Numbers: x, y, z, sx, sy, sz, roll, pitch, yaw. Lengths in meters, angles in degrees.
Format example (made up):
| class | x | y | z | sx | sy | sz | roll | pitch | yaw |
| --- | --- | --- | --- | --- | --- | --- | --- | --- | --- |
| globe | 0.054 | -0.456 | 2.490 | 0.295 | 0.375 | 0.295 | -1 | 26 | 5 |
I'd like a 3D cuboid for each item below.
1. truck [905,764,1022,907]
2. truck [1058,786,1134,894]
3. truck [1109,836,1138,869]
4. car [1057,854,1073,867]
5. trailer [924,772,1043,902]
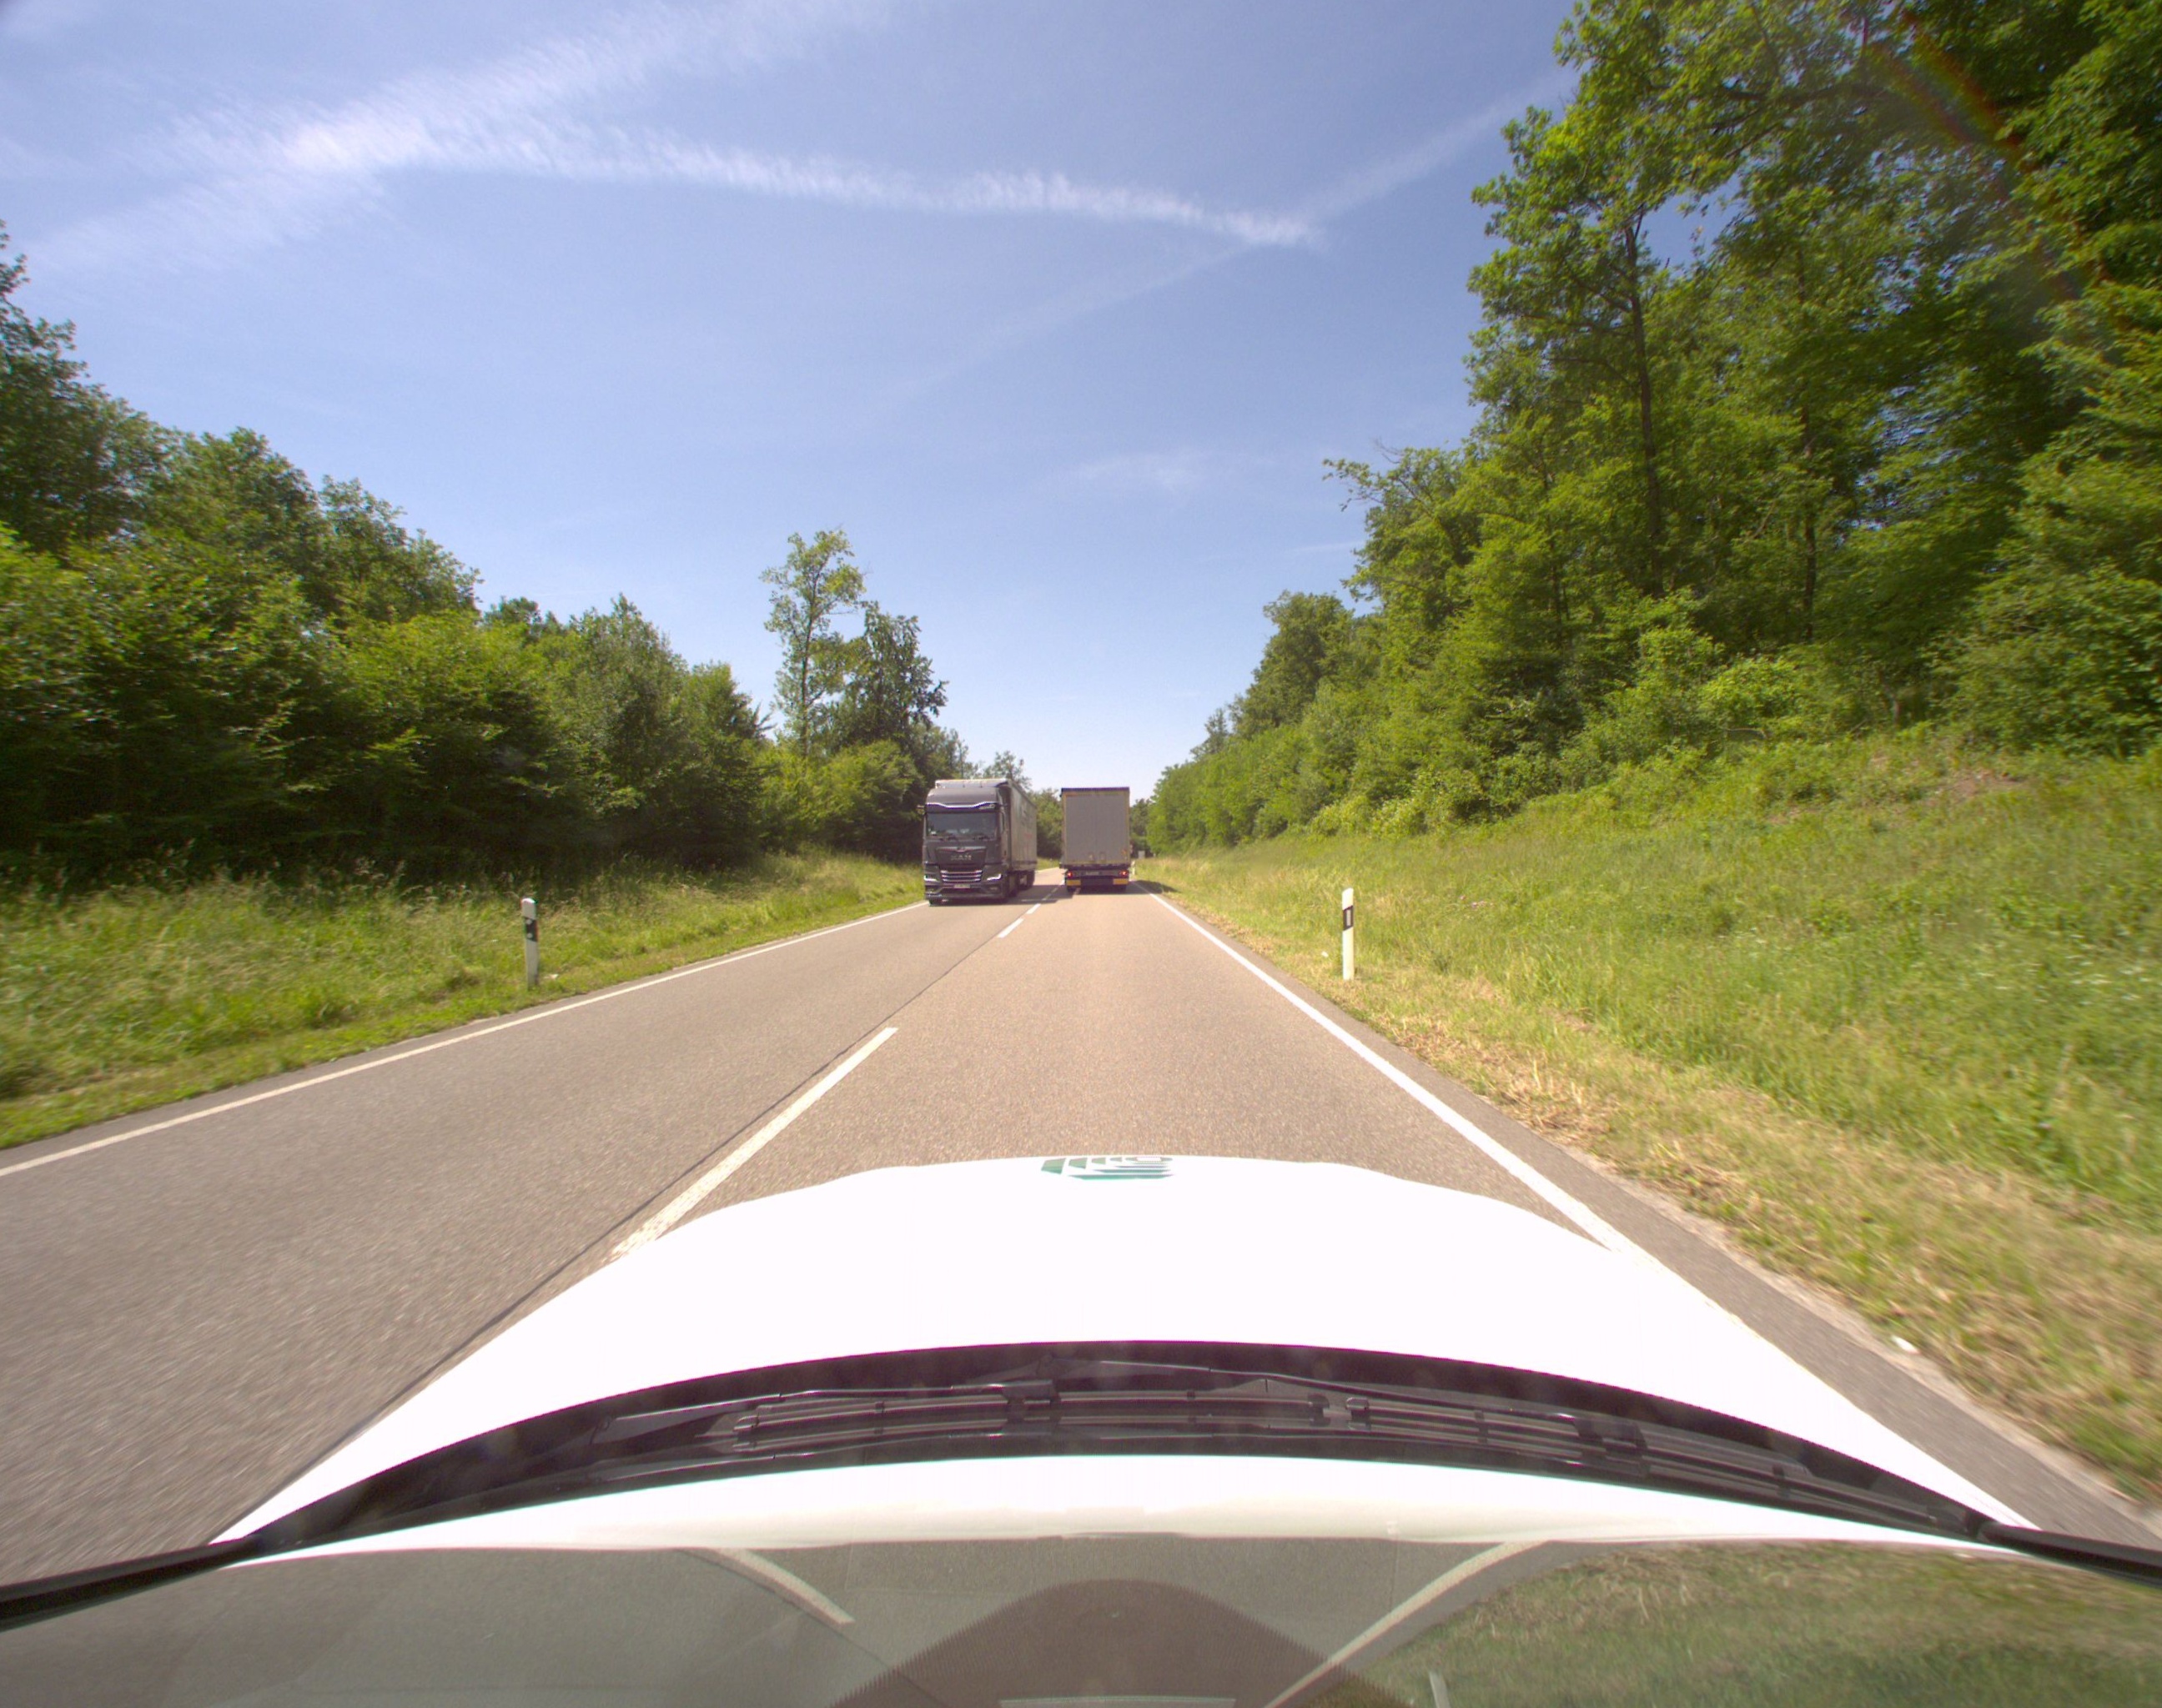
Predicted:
| class | x | y | z | sx | sy | sz | roll | pitch | yaw |
| --- | --- | --- | --- | --- | --- | --- | --- | --- | --- |
| truck | -3.733 | -0.562 | 27.201 | 2.912 | 4.216 | 5.344 | -1 | 0 | 1 |
| truck | 0.626 | -0.500 | 36.289 | 2.752 | 3.947 | 12.198 | -1 | 0 | 1 |
| truck | 5.954 | -0.201 | 116.165 | 3.779 | 4.373 | 14.924 | 0 | 0 | 2 |
| car | -1.969 | 0.788 | 99.646 | 1.654 | 1.495 | 3.807 | -2 | 0 | 2 |
| trailer | -3.577 | -0.580 | 34.039 | 2.931 | 4.252 | 13.623 | -1 | 0 | 1 |
